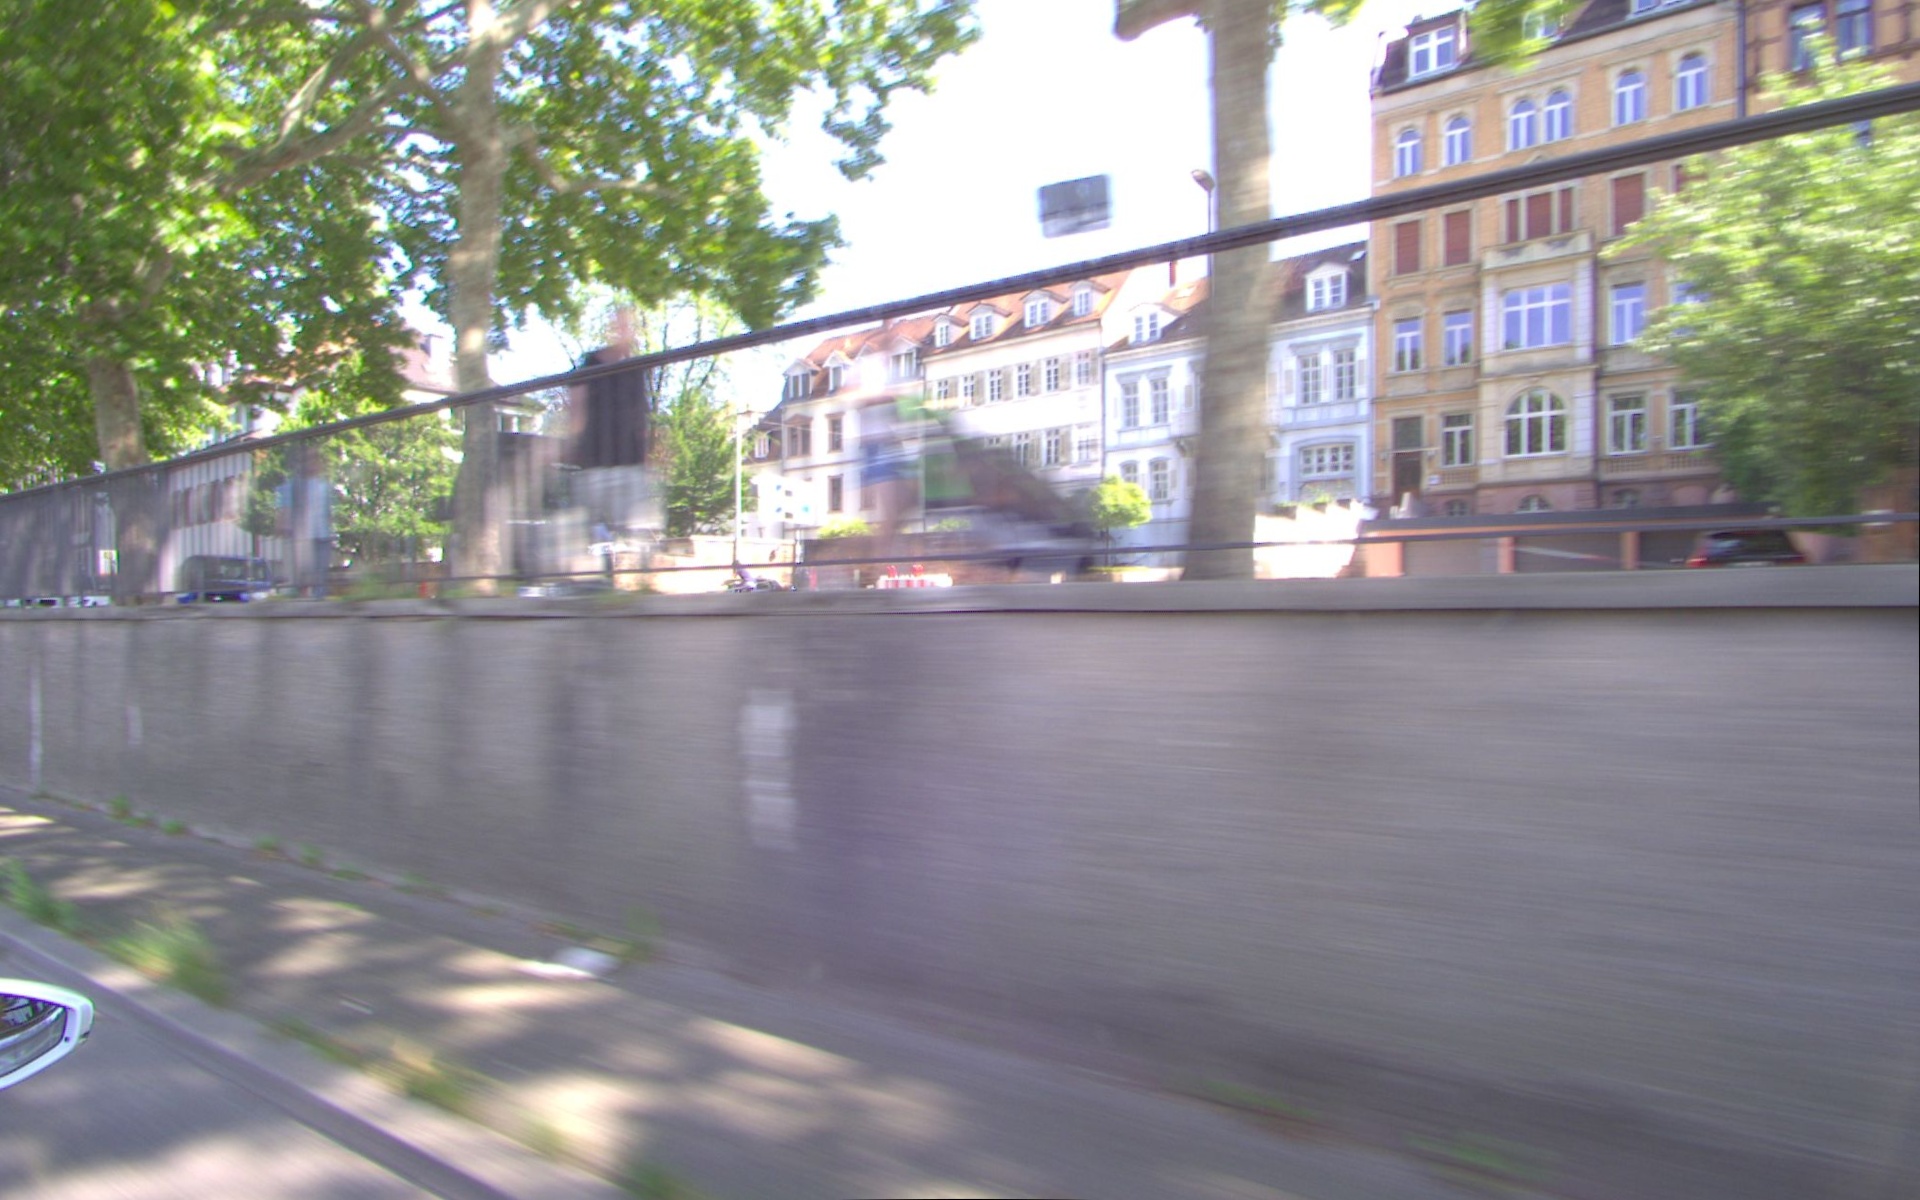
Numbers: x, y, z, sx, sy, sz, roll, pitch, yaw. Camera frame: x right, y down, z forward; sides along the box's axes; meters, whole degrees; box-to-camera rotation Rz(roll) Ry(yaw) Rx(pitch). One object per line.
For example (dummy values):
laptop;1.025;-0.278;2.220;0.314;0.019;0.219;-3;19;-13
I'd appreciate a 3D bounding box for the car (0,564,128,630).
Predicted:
car;-22.143;-0.024;24.676;1.754;1.488;3.981;1;-1;-29

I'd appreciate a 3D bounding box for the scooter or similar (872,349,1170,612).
scooter or similar;0.298;-0.487;4.644;1.091;1.040;0.853;0;2;32

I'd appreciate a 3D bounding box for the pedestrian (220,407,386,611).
pedestrian;-5.015;-0.653;7.648;0.935;1.444;0.678;0;3;32

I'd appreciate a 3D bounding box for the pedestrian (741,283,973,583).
pedestrian;-0.532;-0.797;5.252;0.975;1.384;0.678;0;3;32

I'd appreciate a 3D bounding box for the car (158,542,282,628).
car;-14.465;-0.220;19.744;1.632;1.520;3.796;1;-1;-32

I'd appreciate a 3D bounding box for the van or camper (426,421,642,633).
van or camper;-6.710;-0.706;15.161;2.311;2.210;7.328;3;-4;-28

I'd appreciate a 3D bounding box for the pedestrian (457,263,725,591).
pedestrian;-2.045;-0.869;5.615;1.012;1.601;0.934;0;3;30

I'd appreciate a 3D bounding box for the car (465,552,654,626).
car;-9.076;-0.228;22.585;4.368;1.533;1.831;0;1;35

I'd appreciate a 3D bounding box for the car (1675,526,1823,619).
car;14.671;-0.433;18.819;1.766;1.557;3.777;1;-1;32
